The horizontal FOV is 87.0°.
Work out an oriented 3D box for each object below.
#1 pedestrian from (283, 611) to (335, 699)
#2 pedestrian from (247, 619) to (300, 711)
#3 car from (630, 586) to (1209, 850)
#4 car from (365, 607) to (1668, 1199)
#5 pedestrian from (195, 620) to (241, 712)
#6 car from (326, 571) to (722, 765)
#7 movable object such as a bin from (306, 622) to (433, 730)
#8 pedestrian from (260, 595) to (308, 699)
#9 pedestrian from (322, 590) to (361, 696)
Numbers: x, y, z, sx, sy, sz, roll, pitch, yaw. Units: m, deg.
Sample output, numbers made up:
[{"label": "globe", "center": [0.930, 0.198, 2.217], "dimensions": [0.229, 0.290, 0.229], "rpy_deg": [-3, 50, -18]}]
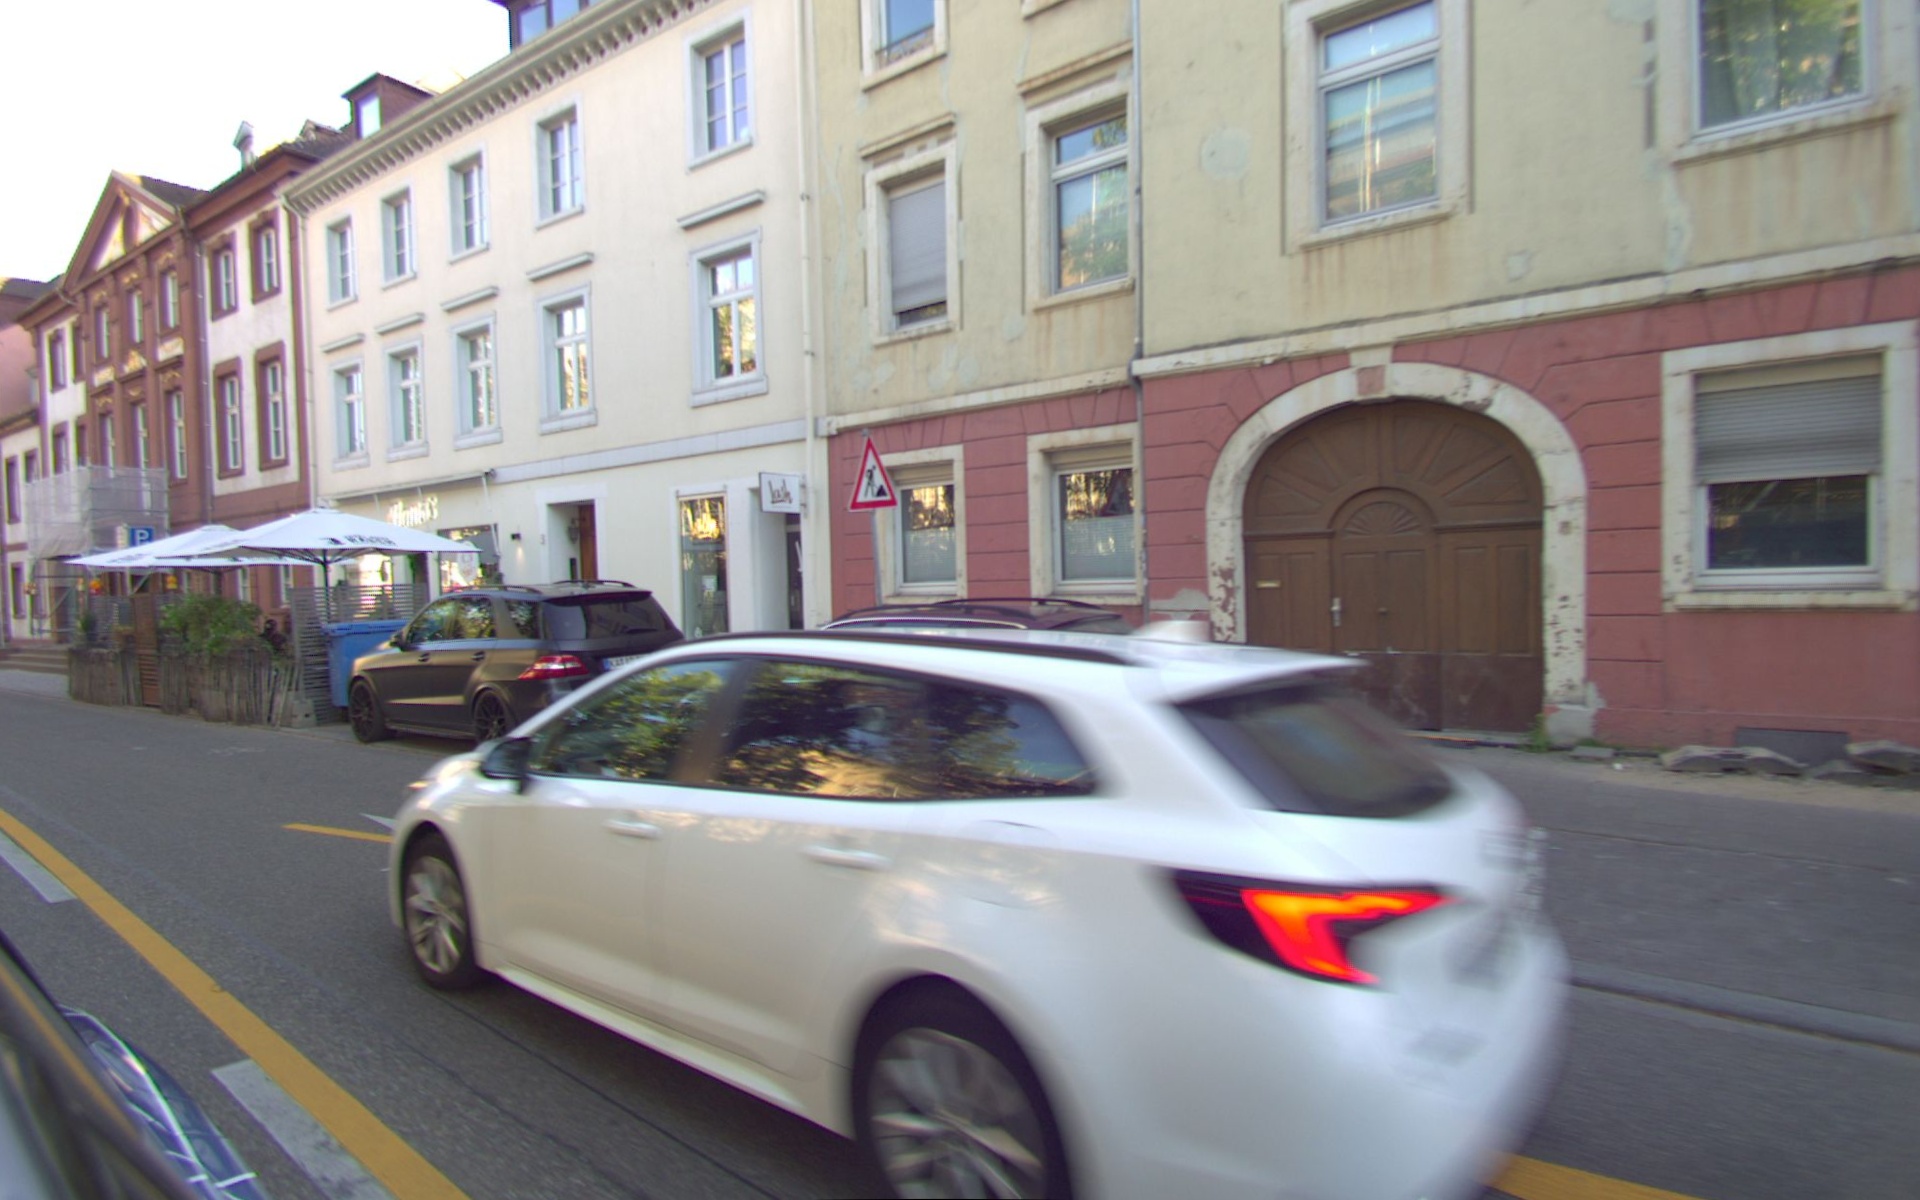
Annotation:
[{"label": "pedestrian", "center": [-10.630, 0.885, 16.533], "dimensions": [0.487, 1.401, 0.519], "rpy_deg": [-1, 1, 33]}, {"label": "pedestrian", "center": [-10.872, 1.018, 16.037], "dimensions": [0.487, 1.401, 0.519], "rpy_deg": [-1, 1, 33]}, {"label": "car", "center": [-0.513, 0.695, 7.760], "dimensions": [4.422, 1.491, 1.637], "rpy_deg": [-1, 0, 38]}, {"label": "car", "center": [-0.318, 0.773, 3.538], "dimensions": [4.426, 1.432, 1.717], "rpy_deg": [-1, 0, 41]}, {"label": "pedestrian", "center": [-12.071, 1.057, 16.458], "dimensions": [0.502, 1.444, 0.466], "rpy_deg": [-1, 1, 40]}, {"label": "car", "center": [-4.892, 0.614, 11.032], "dimensions": [4.778, 1.692, 1.904], "rpy_deg": [-1, 0, 38]}, {"label": "movable object such as a bin", "center": [-7.826, 0.969, 13.433], "dimensions": [0.930, 1.305, 1.203], "rpy_deg": [-1, 0, 40]}, {"label": "pedestrian", "center": [-11.927, 0.810, 17.859], "dimensions": [0.439, 1.788, 0.589], "rpy_deg": [-1, 1, 44]}, {"label": "pedestrian", "center": [-10.720, 0.736, 17.538], "dimensions": [0.432, 1.788, 0.598], "rpy_deg": [-2, 1, -41]}]
